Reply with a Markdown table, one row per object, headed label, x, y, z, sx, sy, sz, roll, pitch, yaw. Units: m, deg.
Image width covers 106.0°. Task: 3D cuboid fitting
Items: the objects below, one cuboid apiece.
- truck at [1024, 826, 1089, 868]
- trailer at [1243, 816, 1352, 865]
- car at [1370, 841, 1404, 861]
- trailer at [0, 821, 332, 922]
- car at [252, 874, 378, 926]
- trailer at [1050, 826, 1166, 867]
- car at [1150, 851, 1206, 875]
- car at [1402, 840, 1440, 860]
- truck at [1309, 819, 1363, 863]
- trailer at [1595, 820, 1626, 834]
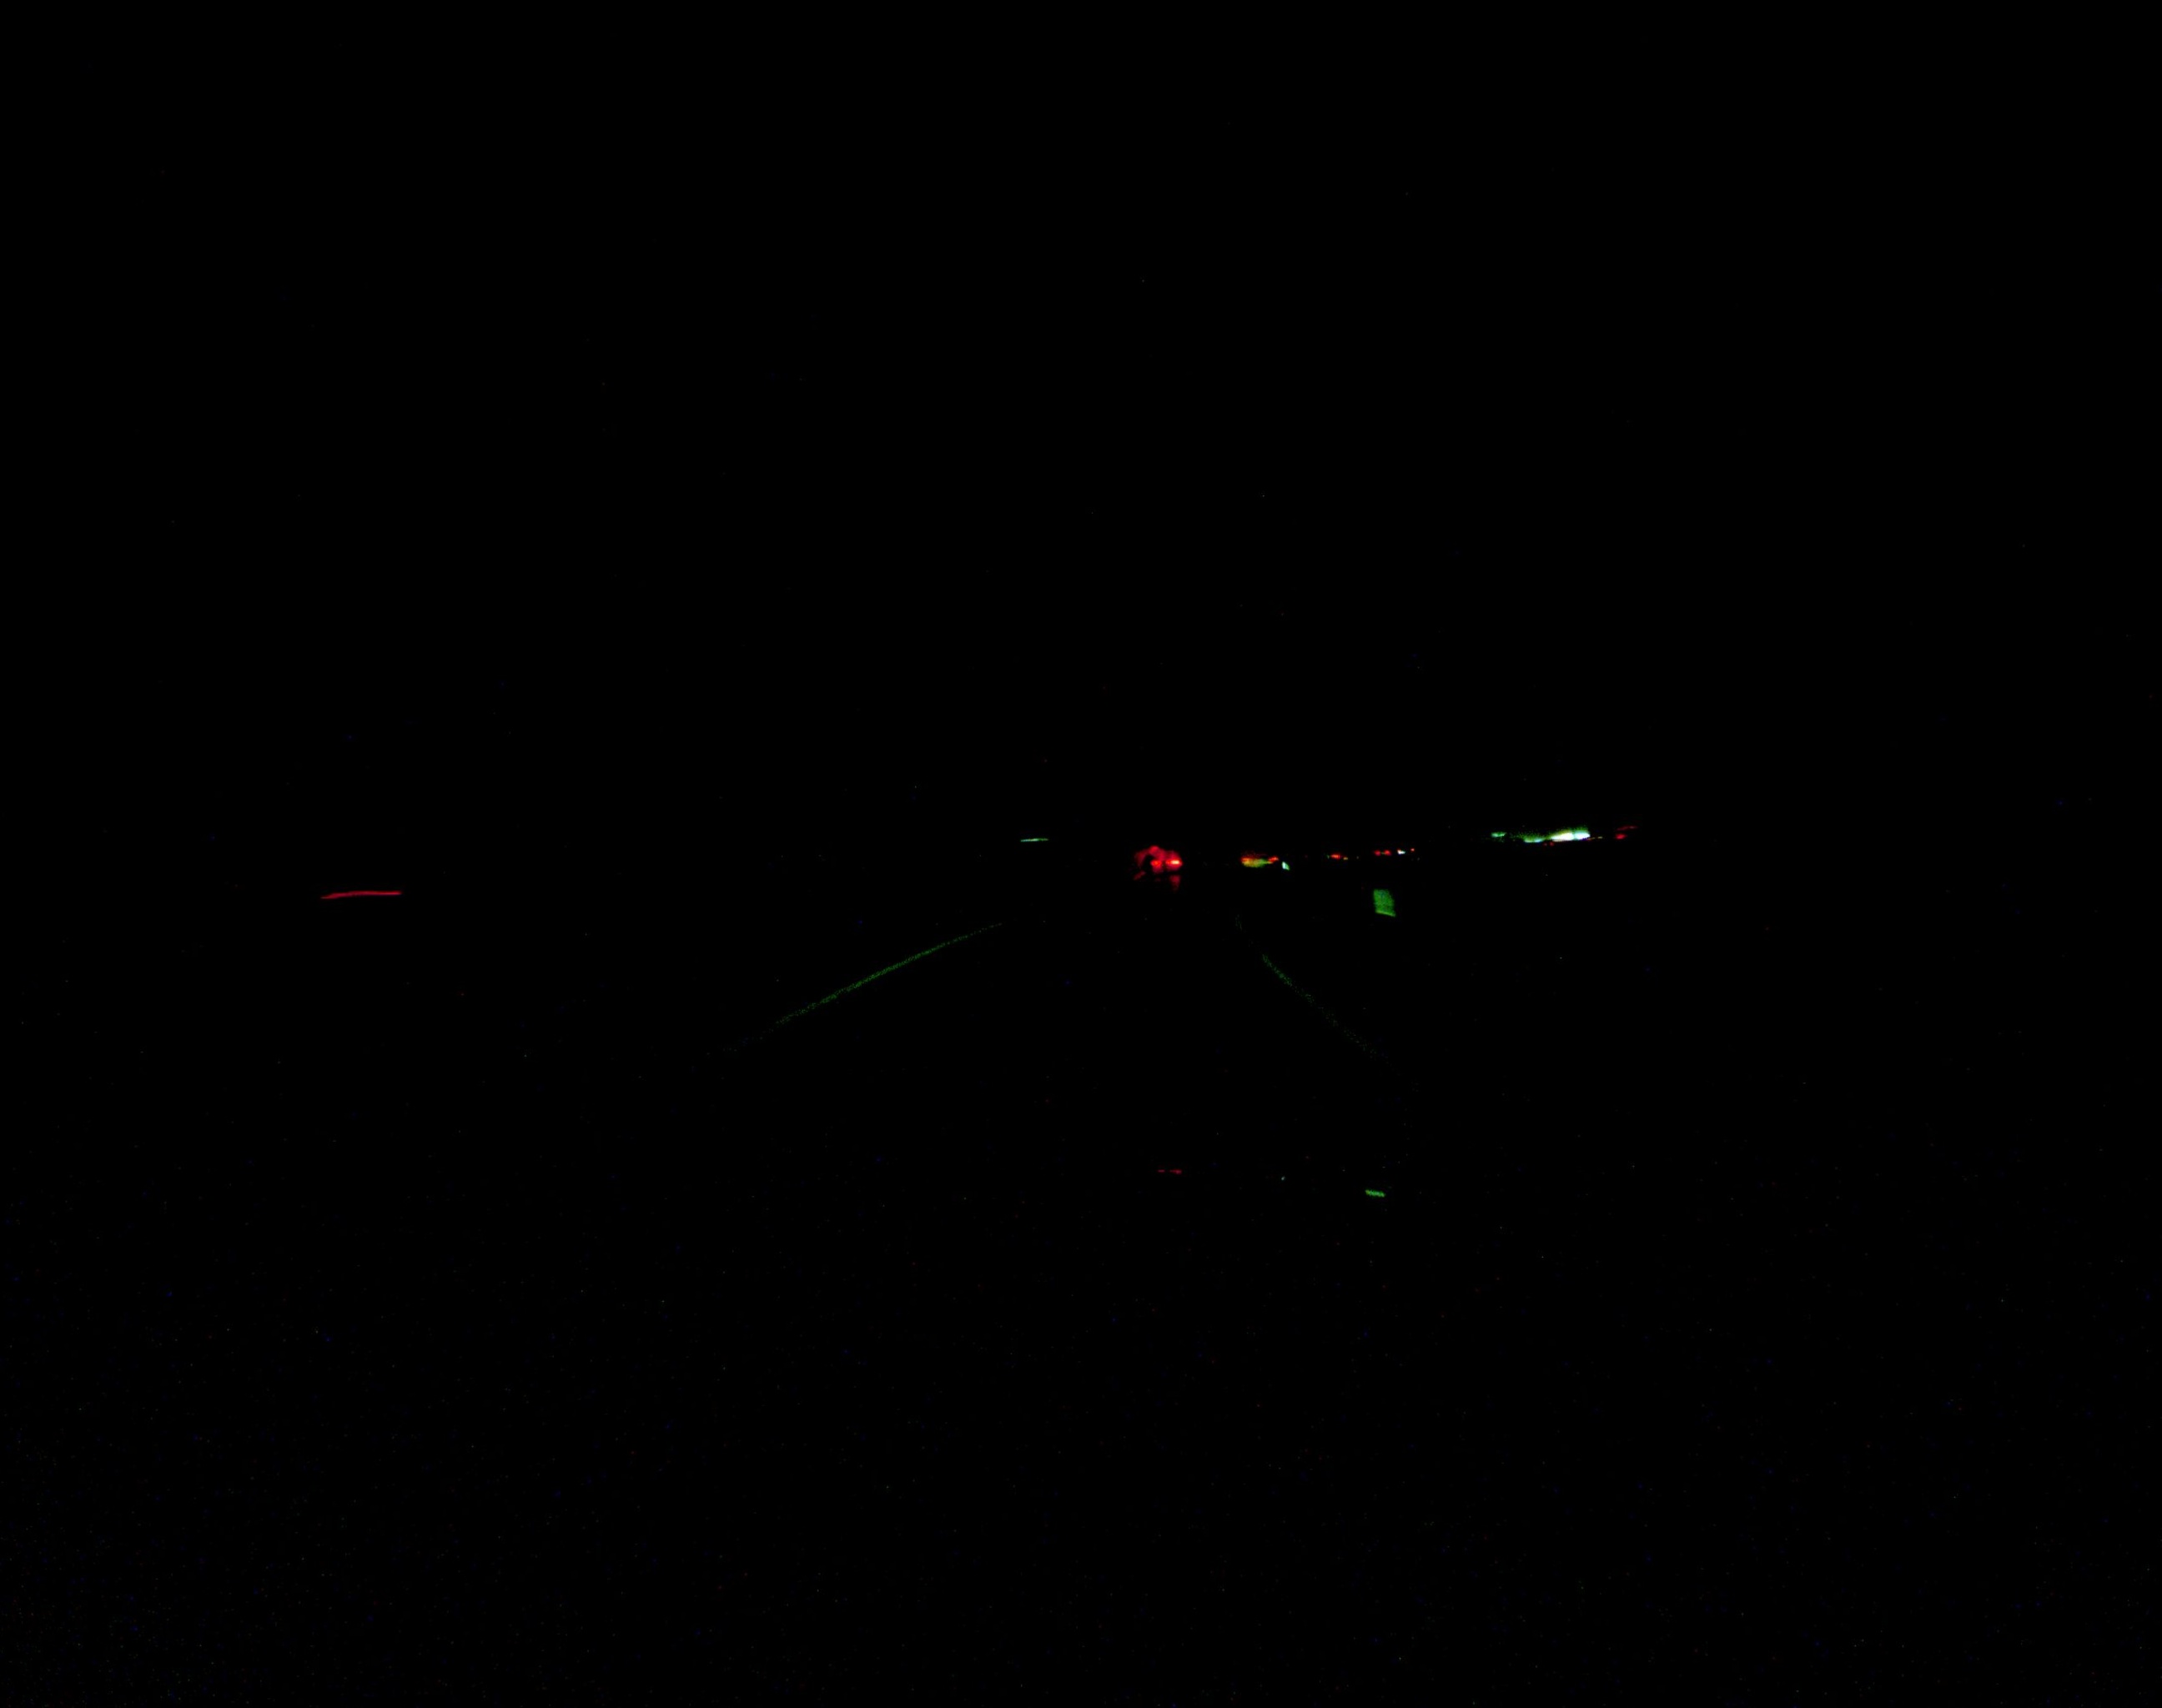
| label | x | y | z | sx | sy | sz | roll | pitch | yaw |
| --- | --- | --- | --- | --- | --- | --- | --- | --- | --- |
| truck | -2.179 | -0.689 | 74.513 | 2.628 | 3.730 | 5.738 | 0 | 1 | 44 |
| trailer | 18.147 | -1.107 | 67.310 | 2.567 | 3.724 | 13.735 | 1 | 1 | 43 |
| car | 33.499 | -0.356 | 89.136 | 1.975 | 2.013 | 4.024 | 0 | 1 | 45 |
| trailer | -41.871 | 0.626 | 34.995 | 14.096 | 4.028 | 2.745 | -2 | 1 | -45 |
| car | -34.511 | 1.997 | 36.763 | 1.975 | 2.013 | 4.024 | 0 | 1 | 44 |
| trailer | 2.945 | -0.855 | 79.850 | 2.628 | 3.730 | 14.027 | 0 | 1 | 44 |
| car | 7.097 | 0.609 | 59.526 | 4.023 | 1.618 | 1.976 | -2 | 1 | -43 |
| car | 31.586 | -0.405 | 75.684 | 1.975 | 1.818 | 4.024 | 0 | 1 | 43 |
| truck | 22.639 | -1.186 | 72.201 | 2.563 | 3.711 | 5.492 | 1 | 1 | 42 |
| trailer | 102.559 | -5.211 | 157.664 | 2.662 | 2.699 | 12.935 | 0 | 1 | 44 |
